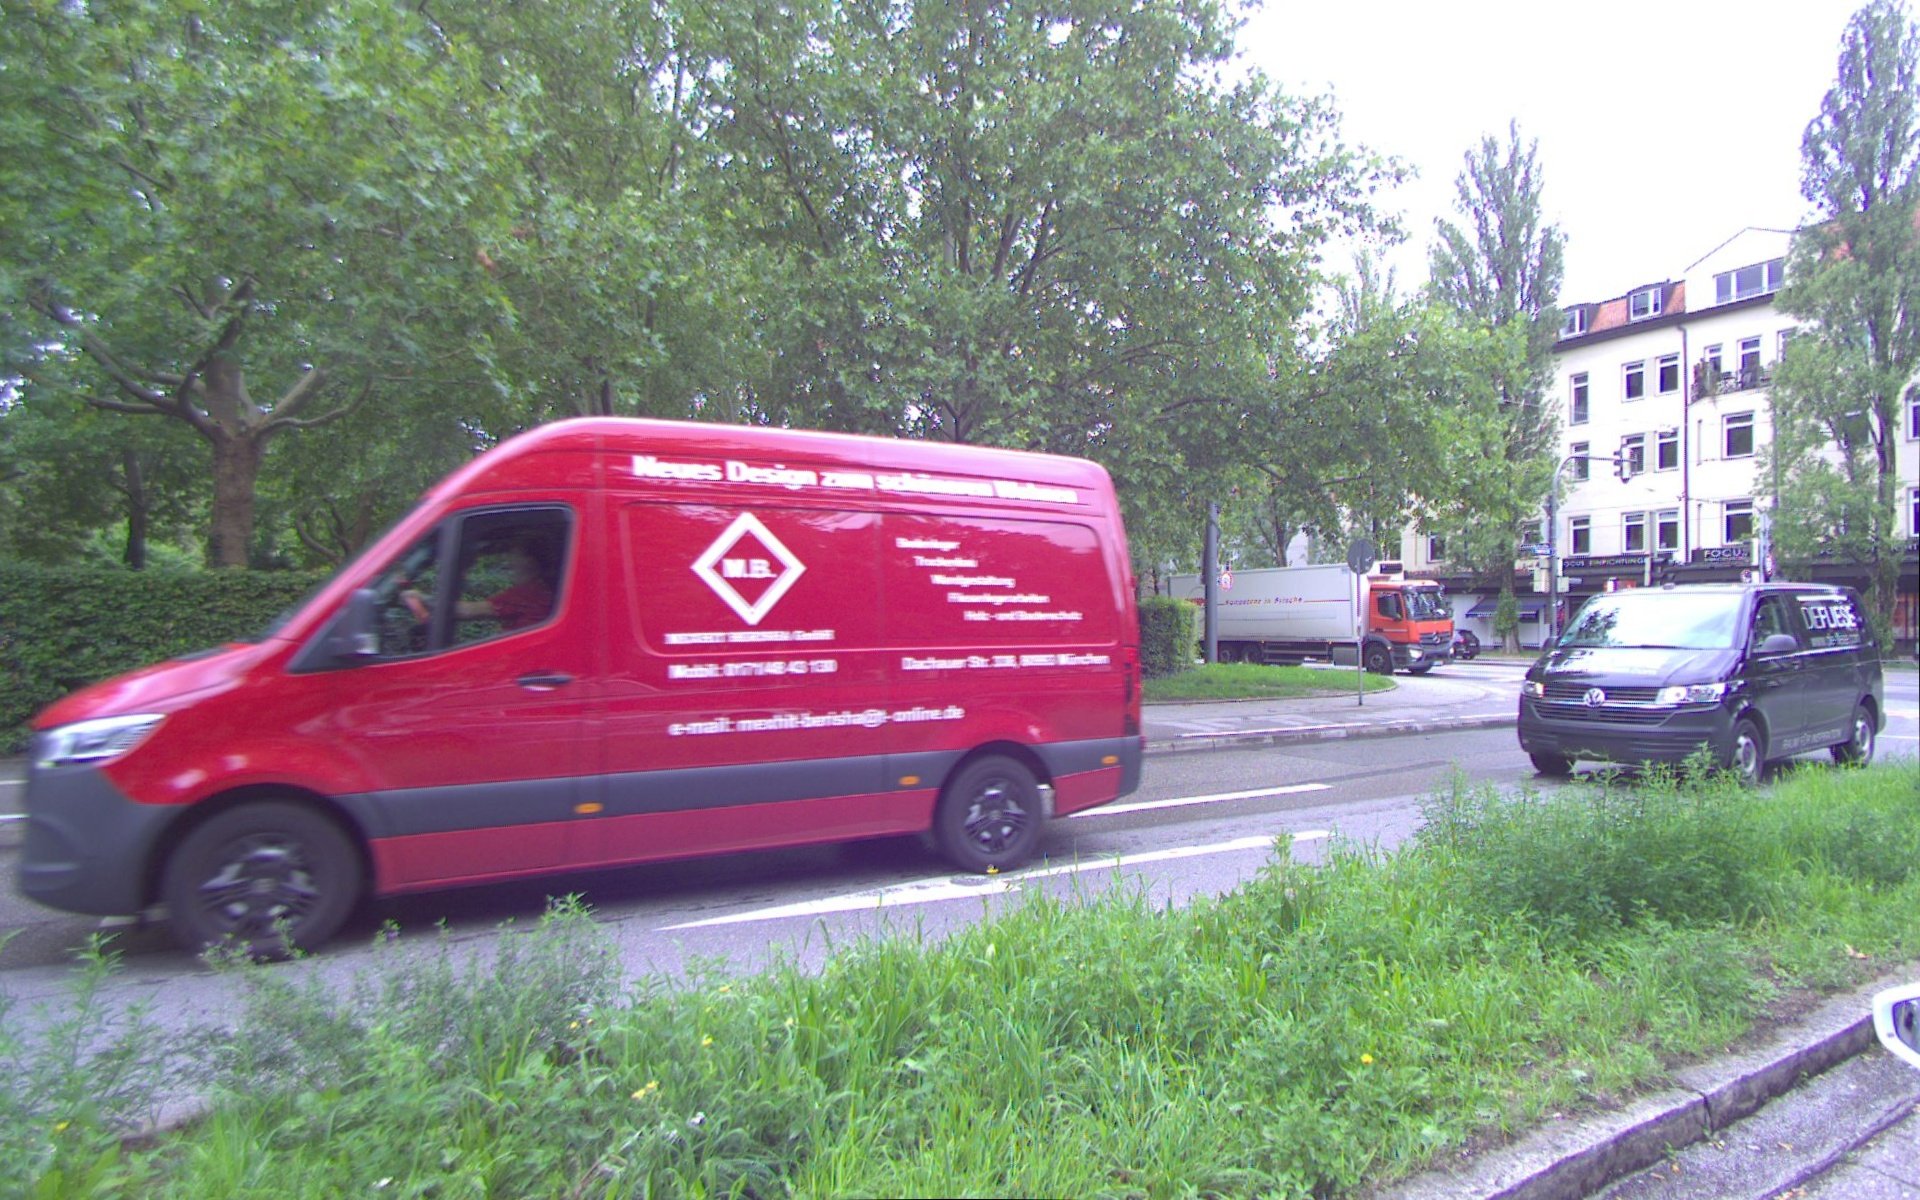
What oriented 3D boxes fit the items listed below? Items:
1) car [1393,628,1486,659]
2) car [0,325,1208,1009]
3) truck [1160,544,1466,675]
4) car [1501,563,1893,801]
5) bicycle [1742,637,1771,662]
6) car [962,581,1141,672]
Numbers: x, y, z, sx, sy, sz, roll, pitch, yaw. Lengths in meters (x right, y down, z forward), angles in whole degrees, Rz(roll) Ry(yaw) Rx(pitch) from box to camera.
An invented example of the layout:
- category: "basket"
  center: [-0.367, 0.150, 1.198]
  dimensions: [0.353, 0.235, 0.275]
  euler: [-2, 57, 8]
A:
- category: "car"
  center: [26.161, 2.343, 54.949]
  dimensions: [1.706, 1.633, 4.435]
  euler: [1, -2, -30]
- category: "car"
  center: [-1.528, 0.271, 6.151]
  dimensions: [6.002, 2.623, 2.096]
  euler: [0, -1, -27]
- category: "truck"
  center: [12.255, 0.422, 36.777]
  dimensions: [2.716, 4.033, 11.623]
  euler: [0, -1, -30]
- category: "car"
  center: [7.867, 0.752, 10.588]
  dimensions: [4.655, 2.017, 1.846]
  euler: [1, -2, -34]
- category: "bicycle"
  center: [36.460, 2.258, 45.971]
  dimensions: [1.869, 1.096, 0.492]
  euler: [1, -2, -33]
- category: "car"
  center: [2.533, 0.729, 27.394]
  dimensions: [4.536, 2.040, 2.001]
  euler: [-5, -1, 11]
